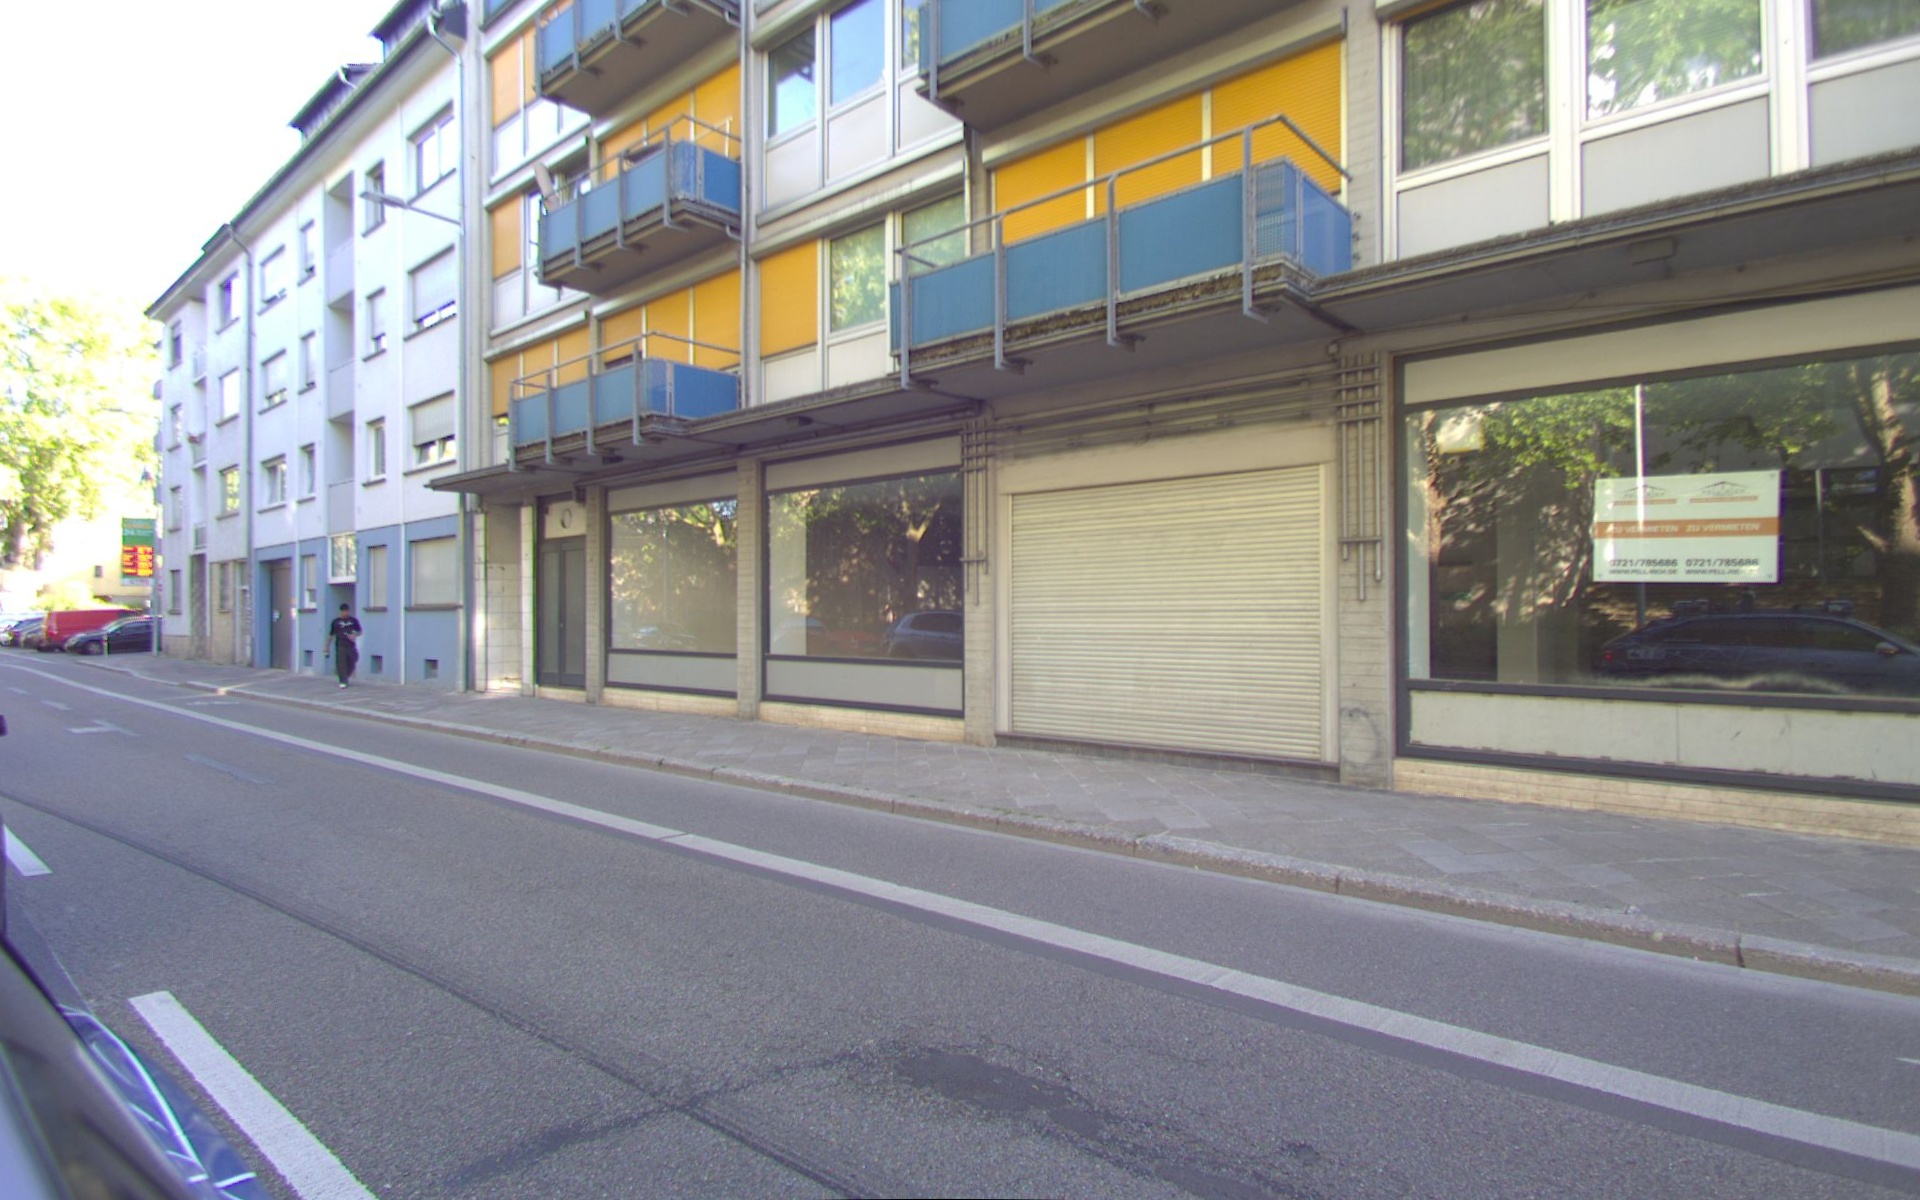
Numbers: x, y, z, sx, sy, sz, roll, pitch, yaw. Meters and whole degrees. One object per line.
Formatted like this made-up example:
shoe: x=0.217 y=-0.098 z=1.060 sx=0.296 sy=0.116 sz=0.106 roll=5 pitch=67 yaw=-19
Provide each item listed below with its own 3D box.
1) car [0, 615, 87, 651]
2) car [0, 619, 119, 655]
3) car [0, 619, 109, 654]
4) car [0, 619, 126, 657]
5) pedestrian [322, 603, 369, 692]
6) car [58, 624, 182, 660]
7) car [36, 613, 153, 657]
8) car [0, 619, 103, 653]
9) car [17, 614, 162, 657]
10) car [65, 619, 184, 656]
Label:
car: x=-59.328 y=2.088 z=64.705 sx=2.186 sy=2.164 sz=5.077 roll=-1 pitch=-1 yaw=41
car: x=-52.221 y=2.100 z=58.710 sx=2.159 sy=1.952 sz=4.990 roll=-1 pitch=-1 yaw=41
car: x=-54.106 y=2.121 z=60.347 sx=2.082 sy=1.952 sz=4.928 roll=-1 pitch=-1 yaw=41
car: x=-50.282 y=2.077 z=56.822 sx=2.186 sy=1.952 sz=5.077 roll=-1 pitch=-1 yaw=41
pedestrian: x=-12.714 y=0.957 z=20.924 sx=0.654 sy=1.785 sz=0.794 roll=-1 pitch=-1 yaw=-44
car: x=-36.537 y=1.778 z=44.069 sx=1.742 sy=1.431 sz=3.946 roll=-1 pitch=-1 yaw=41
car: x=-40.574 y=1.625 z=47.508 sx=1.866 sy=1.952 sz=3.946 roll=-1 pitch=-1 yaw=41
car: x=-55.954 y=2.149 z=61.978 sx=2.314 sy=1.952 sz=4.978 roll=-1 pitch=-1 yaw=41
car: x=-42.675 y=1.691 z=49.706 sx=2.256 sy=1.995 sz=5.156 roll=-1 pitch=-1 yaw=41
car: x=-37.861 y=1.669 z=45.934 sx=1.742 sy=1.572 sz=3.946 roll=-1 pitch=-1 yaw=41
